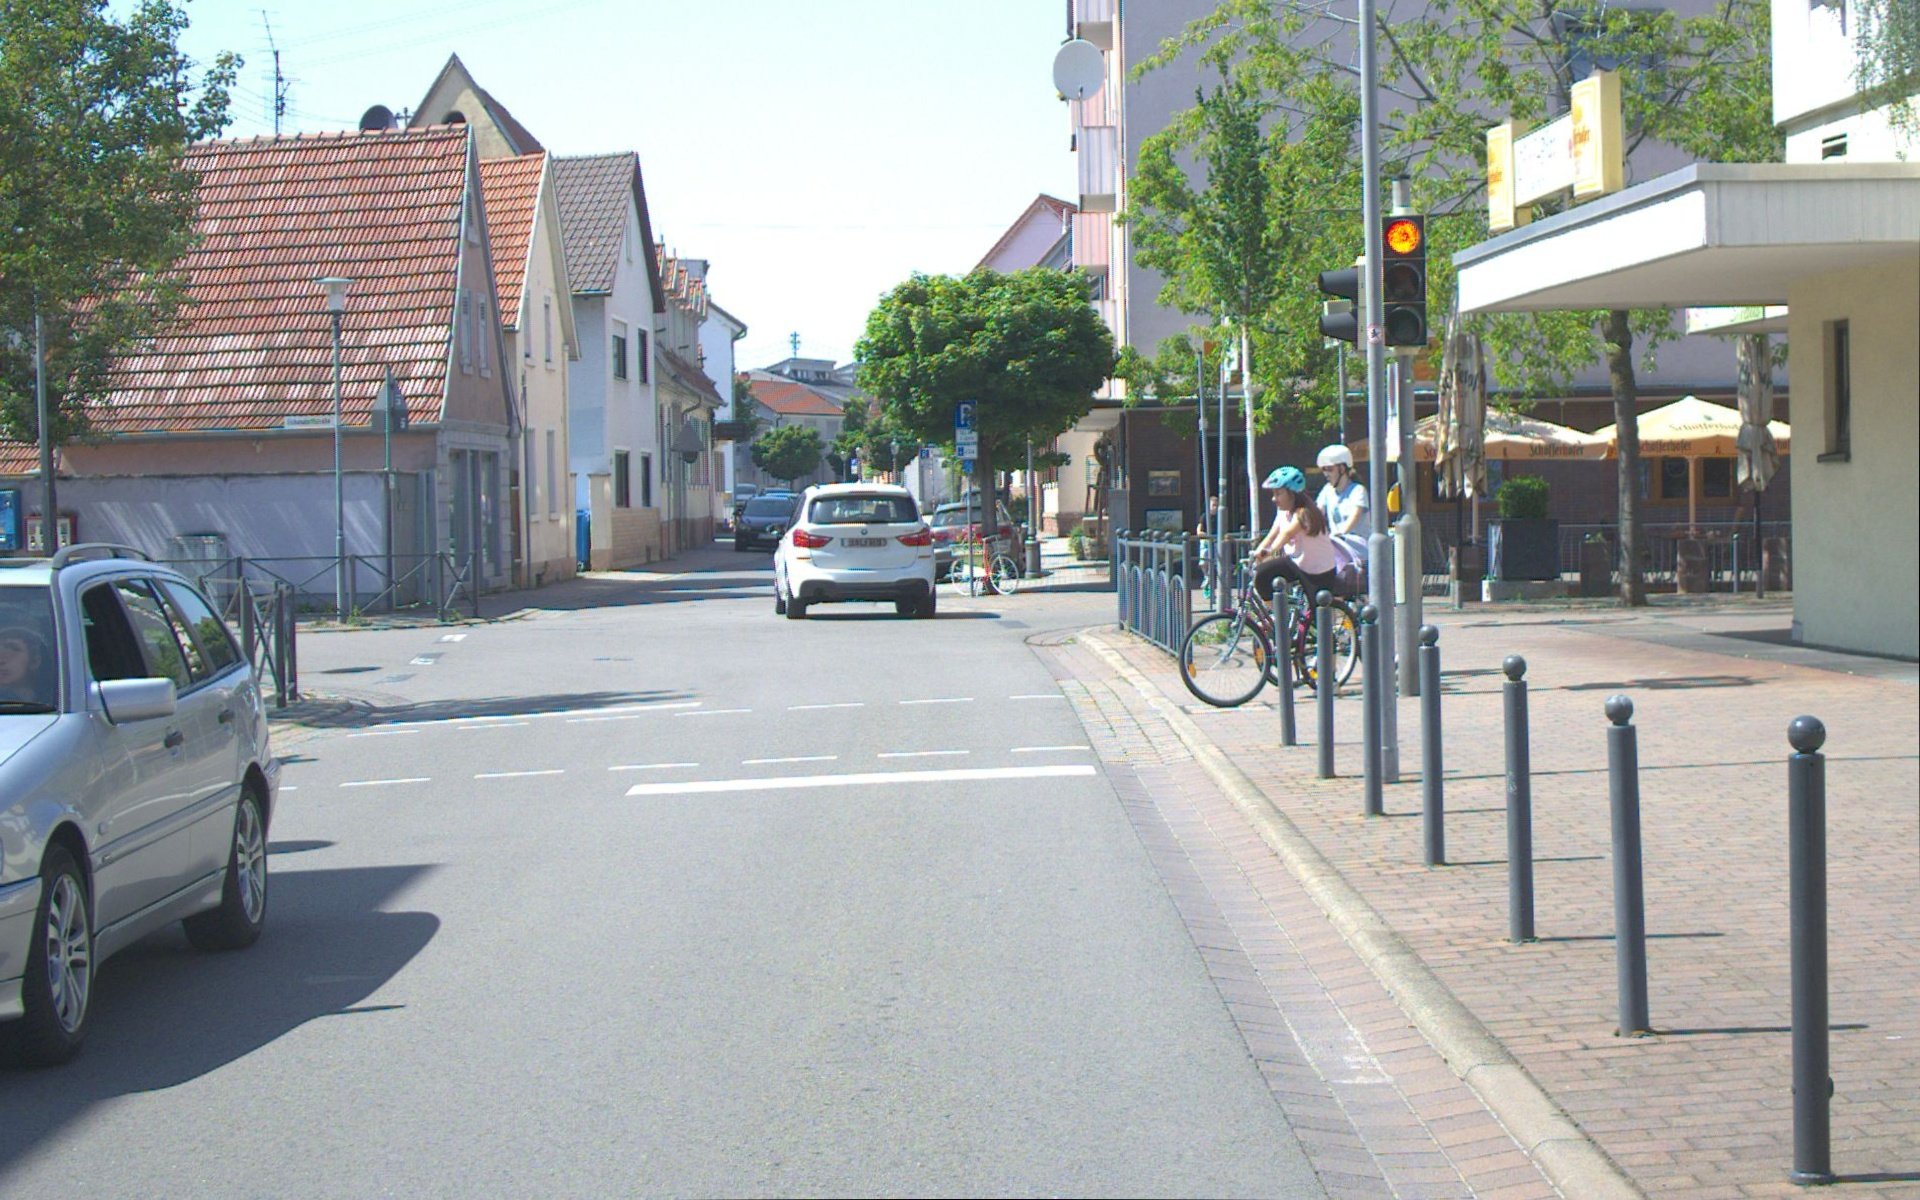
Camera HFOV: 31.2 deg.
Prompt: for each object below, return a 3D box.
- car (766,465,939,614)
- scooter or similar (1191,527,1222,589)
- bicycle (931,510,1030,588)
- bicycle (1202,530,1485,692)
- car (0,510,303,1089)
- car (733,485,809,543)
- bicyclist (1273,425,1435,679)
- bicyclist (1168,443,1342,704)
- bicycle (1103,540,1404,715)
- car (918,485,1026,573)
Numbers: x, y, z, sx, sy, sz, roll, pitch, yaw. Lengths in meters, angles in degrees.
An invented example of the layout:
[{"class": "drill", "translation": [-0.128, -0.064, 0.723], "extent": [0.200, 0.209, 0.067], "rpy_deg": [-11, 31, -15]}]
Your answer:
[{"class": "car", "translation": [-1.366, -0.784, 42.083], "extent": [1.833, 1.646, 4.001], "rpy_deg": [-2, 3, -5]}, {"class": "scooter or similar", "translation": [3.561, -0.614, 49.652], "extent": [0.379, 0.870, 0.890], "rpy_deg": [-1, 2, 8]}, {"class": "bicycle", "translation": [0.317, -0.801, 53.661], "extent": [0.525, 1.189, 1.674], "rpy_deg": [-3, 2, -43]}, {"class": "bicycle", "translation": [2.605, 0.061, 23.238], "extent": [1.890, 0.954, 0.676], "rpy_deg": [-5, 3, -35]}, {"class": "car", "translation": [-3.431, 0.502, 10.802], "extent": [1.880, 1.459, 4.436], "rpy_deg": [-3, 1, -1]}, {"class": "car", "translation": [-5.105, -2.357, 93.361], "extent": [1.714, 1.512, 3.786], "rpy_deg": [-1, 2, 2]}, {"class": "bicyclist", "translation": [2.667, -0.331, 23.287], "extent": [0.759, 1.658, 0.671], "rpy_deg": [-4, 3, -36]}, {"class": "bicyclist", "translation": [1.863, -0.175, 21.690], "extent": [0.759, 1.576, 0.671], "rpy_deg": [-5, 3, -38]}, {"class": "bicycle", "translation": [1.865, 0.157, 21.689], "extent": [1.890, 0.954, 0.676], "rpy_deg": [-5, 3, -37]}, {"class": "car", "translation": [0.252, -1.314, 62.427], "extent": [1.805, 1.496, 4.000], "rpy_deg": [-1, 2, 2]}]
